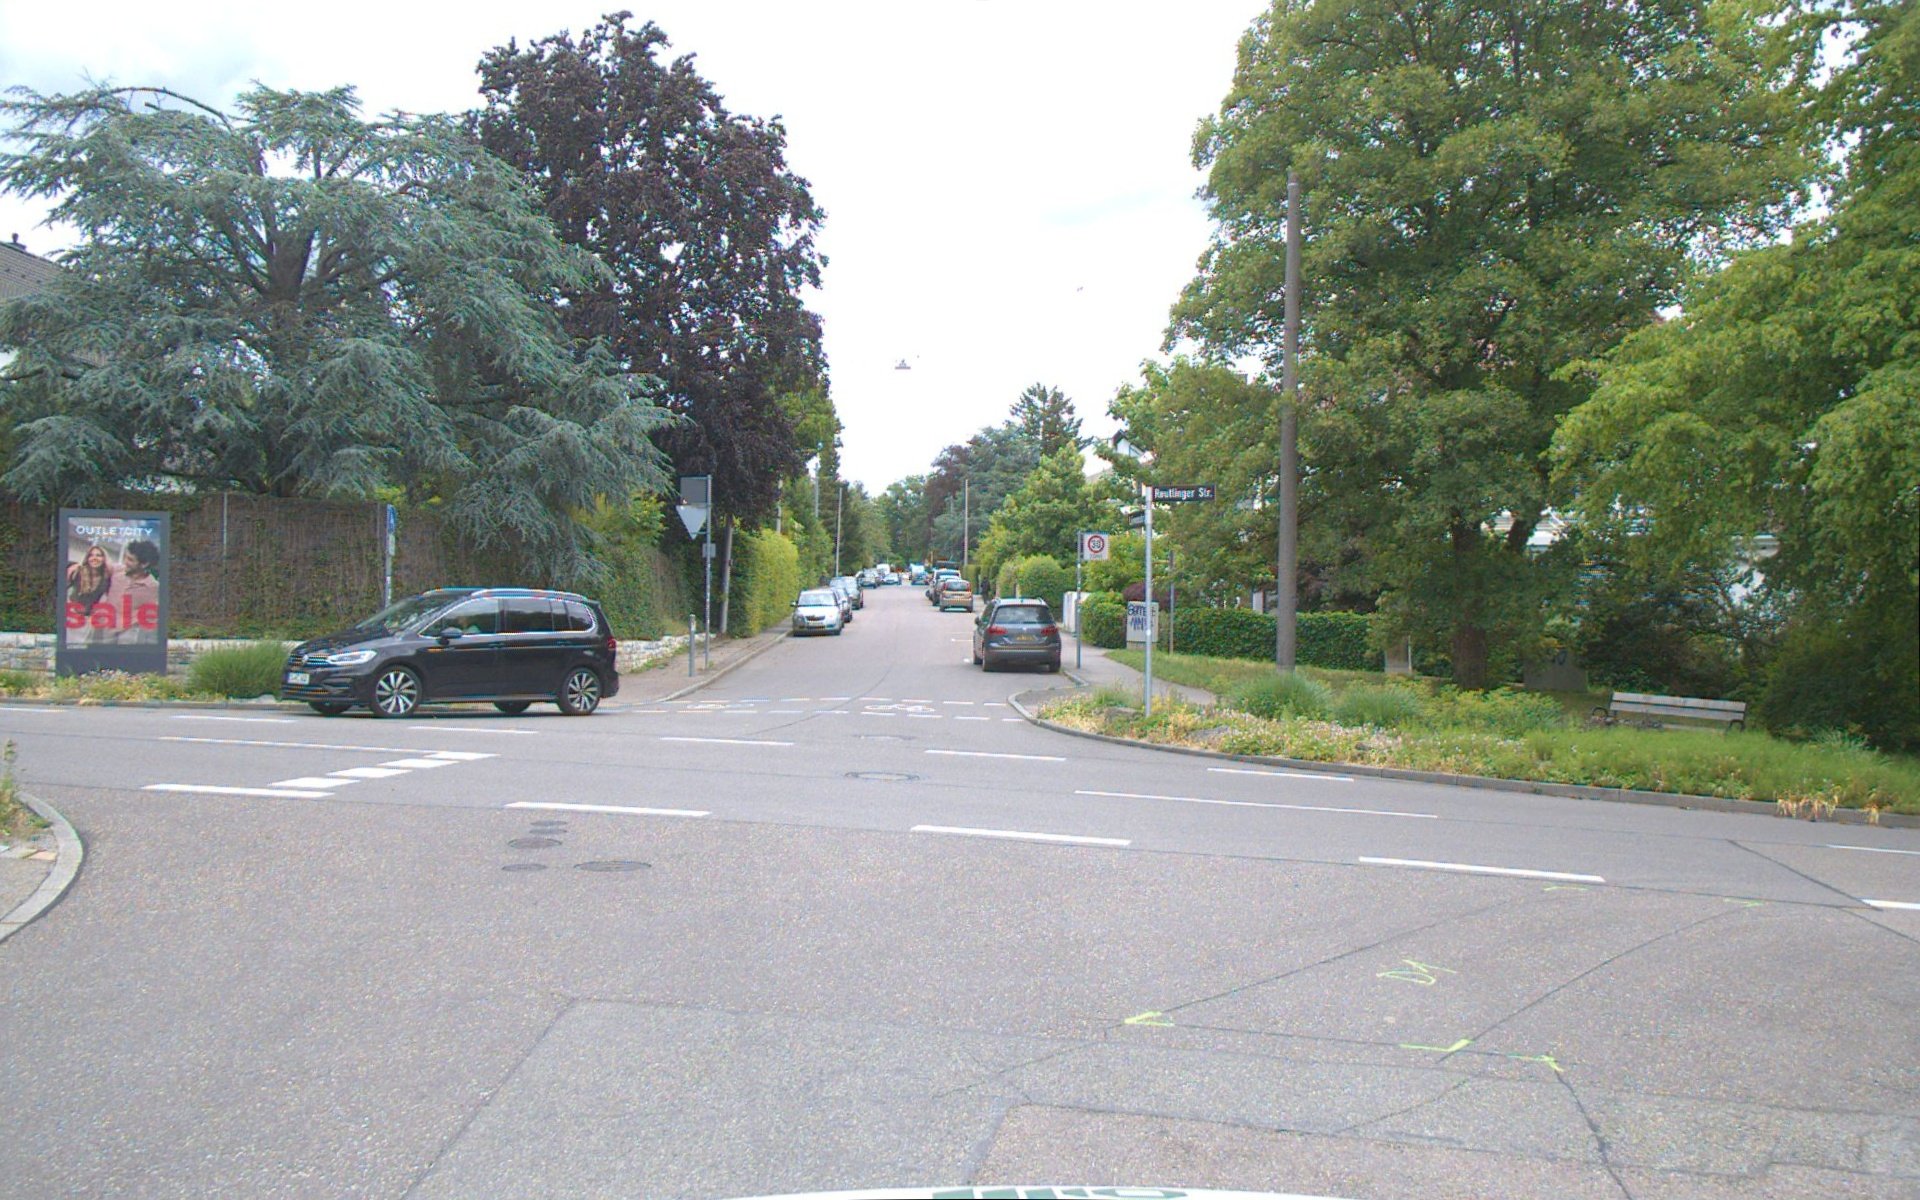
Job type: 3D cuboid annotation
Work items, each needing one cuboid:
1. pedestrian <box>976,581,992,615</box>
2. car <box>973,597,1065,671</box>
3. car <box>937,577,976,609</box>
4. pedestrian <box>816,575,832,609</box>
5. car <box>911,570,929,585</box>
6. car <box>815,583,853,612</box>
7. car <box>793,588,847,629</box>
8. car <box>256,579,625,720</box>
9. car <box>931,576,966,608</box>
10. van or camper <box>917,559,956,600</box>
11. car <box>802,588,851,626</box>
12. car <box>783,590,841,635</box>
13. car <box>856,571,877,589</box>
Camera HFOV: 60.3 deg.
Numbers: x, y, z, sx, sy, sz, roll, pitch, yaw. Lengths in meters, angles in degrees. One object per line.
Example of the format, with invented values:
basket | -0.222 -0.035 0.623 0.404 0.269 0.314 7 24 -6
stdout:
pedestrian | 1.352 -0.118 92.800 0.742 1.904 0.620 3 0 -2
car | 1.293 0.728 37.623 1.781 1.563 3.998 0 0 -3
car | -0.177 -0.349 80.893 1.578 1.438 3.470 3 0 -5
pedestrian | -8.256 -0.480 100.269 0.837 2.048 0.871 3 0 -8
car | -4.366 -2.431 179.672 1.779 1.601 3.998 1 0 -3
car | -6.477 -0.134 85.275 1.908 1.467 3.997 1 0 -4
car | -5.241 0.282 62.259 1.908 1.467 3.997 1 0 -4
car | -6.645 0.642 21.537 1.819 1.640 4.288 0 -2 40
car | -0.642 -0.422 89.946 1.712 1.668 3.725 1 0 -4
van or camper | -1.478 -1.238 102.672 2.071 2.447 5.241 1 0 -4
car | -5.418 0.279 67.448 1.908 1.467 3.997 1 0 -4
car | -5.074 0.396 57.114 1.908 1.467 3.997 1 0 -4
car | -8.251 -1.746 145.599 1.680 1.488 3.655 3 0 -2
